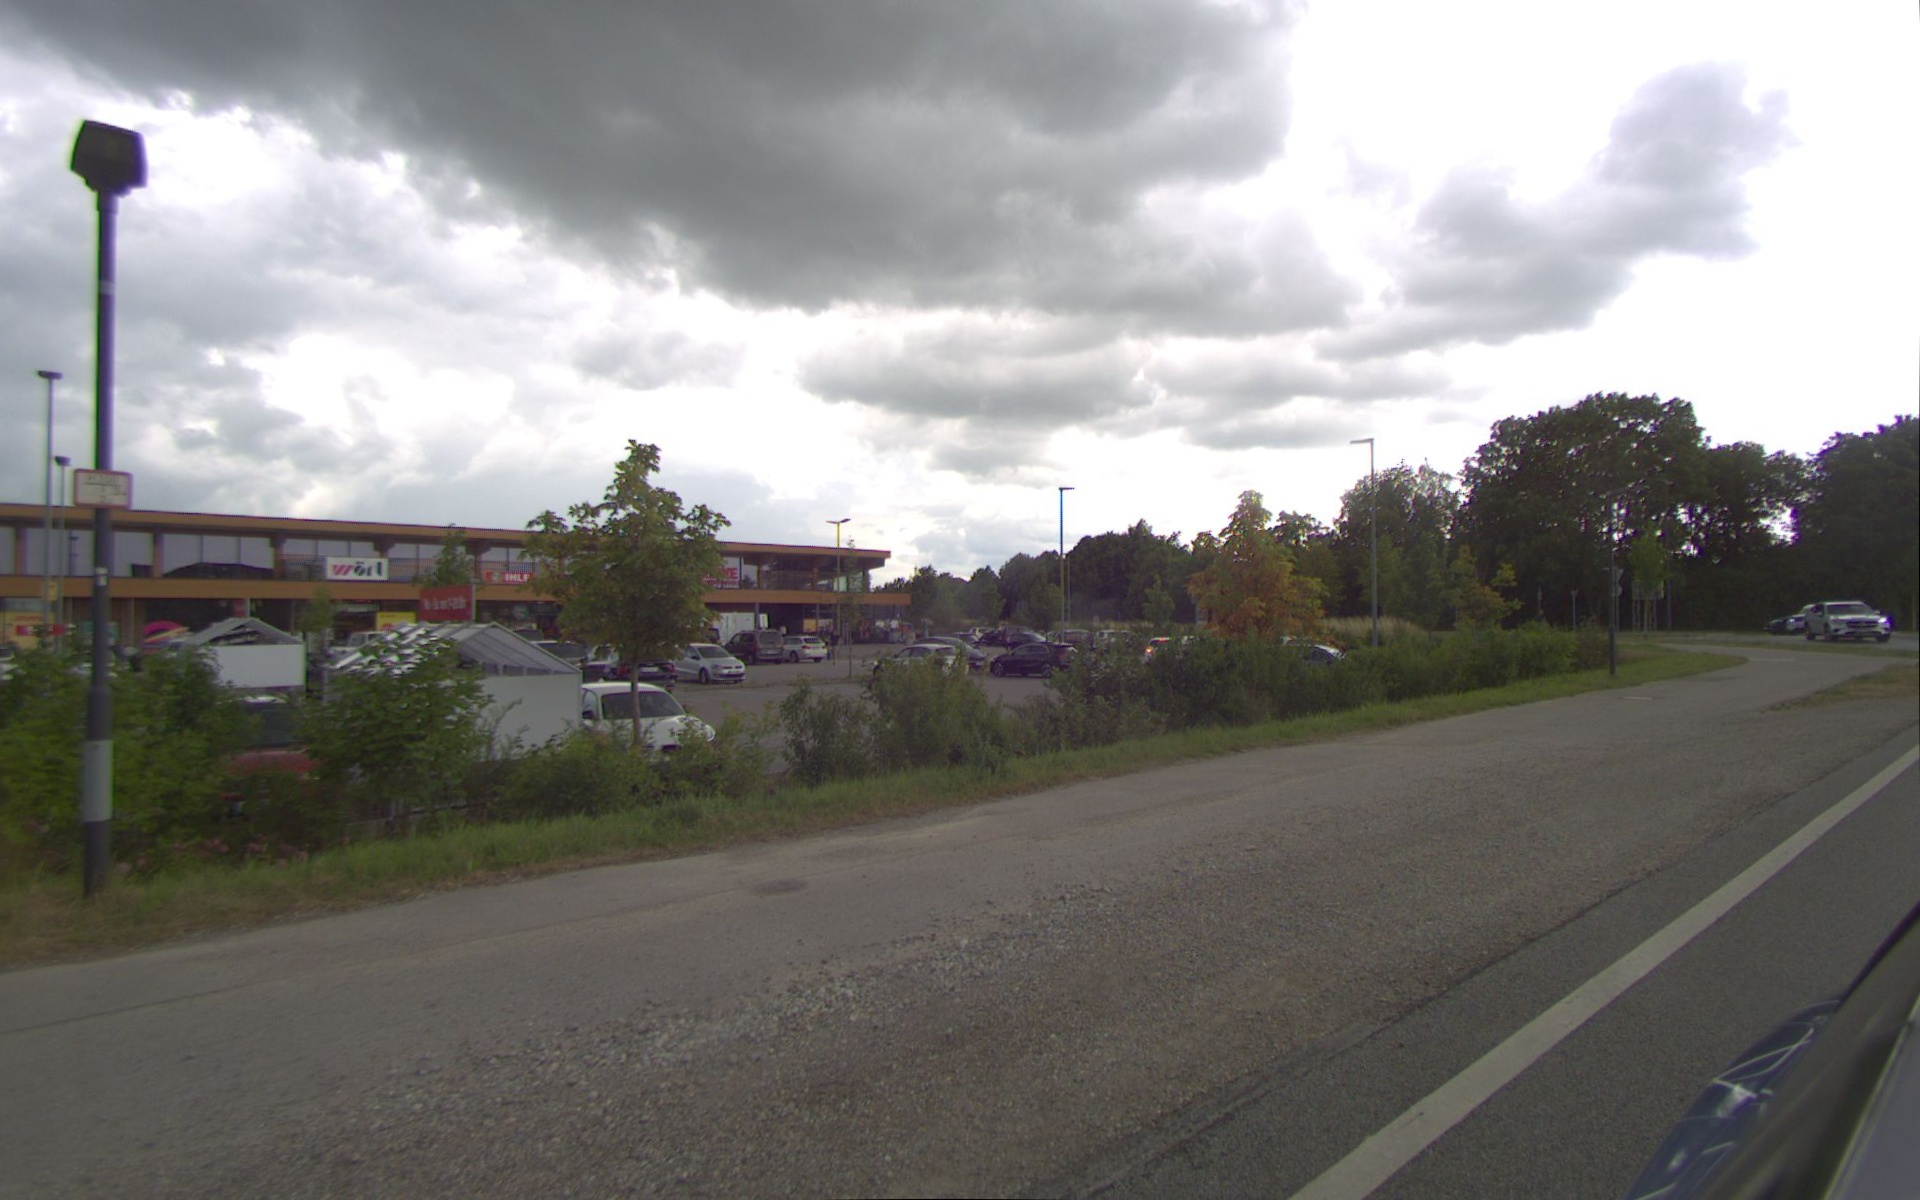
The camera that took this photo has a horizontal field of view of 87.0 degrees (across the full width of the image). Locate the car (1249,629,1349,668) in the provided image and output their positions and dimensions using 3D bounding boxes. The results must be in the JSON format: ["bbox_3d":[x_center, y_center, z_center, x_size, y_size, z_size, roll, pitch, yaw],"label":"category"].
[{"bbox_3d":[15.895,2.247,47.499,4.154,1.738,1.705,0,0,-13],"label":"car"}]

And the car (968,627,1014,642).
[{"bbox_3d":[2.880,3.209,94.277,3.916,1.377,1.705,0,0,-13],"label":"car"}]

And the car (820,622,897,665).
[{"bbox_3d":[-5.096,2.105,50.252,1.962,1.894,4.274,0,0,-36],"label":"car"}]

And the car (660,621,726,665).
[{"bbox_3d":[-13.700,2.165,51.829,1.962,2.039,3.999,0,0,-36],"label":"car"}]

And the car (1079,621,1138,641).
[{"bbox_3d":[10.984,2.276,75.019,3.916,1.377,1.705,0,0,-13],"label":"car"}]

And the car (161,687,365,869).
[{"bbox_3d":[-8.853,2.059,12.727,1.647,1.557,3.761,0,0,-42],"label":"car"}]

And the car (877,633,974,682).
[{"bbox_3d":[-1.320,2.093,37.597,1.723,1.552,3.554,0,0,-41],"label":"car"}]

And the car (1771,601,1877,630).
[{"bbox_3d":[45.796,0.819,53.764,3.963,1.438,1.699,1,0,29],"label":"car"}]

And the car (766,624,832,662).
[{"bbox_3d":[-8.955,2.323,55.914,2.032,1.871,3.999,0,0,-36],"label":"car"}]

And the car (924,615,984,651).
[{"bbox_3d":[-0.432,2.021,63.400,1.961,2.039,4.003,0,0,-32],"label":"car"}]

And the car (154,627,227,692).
[{"bbox_3d":[-27.936,2.089,36.834,1.962,2.039,3.999,0,0,-36],"label":"car"}]

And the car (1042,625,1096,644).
[{"bbox_3d":[8.660,2.748,80.681,3.916,1.377,1.705,0,0,-13],"label":"car"}]

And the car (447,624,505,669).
[{"bbox_3d":[-24.535,2.287,51.240,1.962,2.039,4.123,0,0,-36],"label":"car"}]

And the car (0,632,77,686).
[{"bbox_3d":[-35.310,2.201,38.734,1.908,1.772,3.999,0,0,-36],"label":"car"}]

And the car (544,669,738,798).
[{"bbox_3d":[-5.308,2.061,16.581,1.647,1.557,3.761,0,0,-42],"label":"car"}]

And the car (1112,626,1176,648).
[{"bbox_3d":[12.494,2.498,68.690,3.916,1.377,1.705,0,0,-13],"label":"car"}]

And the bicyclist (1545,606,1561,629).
[{"bbox_3d":[33.751,0.989,57.602,0.545,1.259,0.659,1,0,0],"label":"bicyclist"}]

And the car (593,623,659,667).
[{"bbox_3d":[-16.258,2.164,49.127,1.962,2.040,3.998,0,-3,-36],"label":"car"}]

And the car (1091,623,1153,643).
[{"bbox_3d":[11.487,2.329,71.840,3.916,1.377,1.705,0,0,-13],"label":"car"}]

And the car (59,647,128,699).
[{"bbox_3d":[-30.565,2.529,35.755,1.761,1.496,3.745,0,0,-40],"label":"car"}]

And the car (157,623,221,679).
[{"bbox_3d":[-31.635,2.040,41.605,1.962,2.039,3.999,0,0,-36],"label":"car"}]

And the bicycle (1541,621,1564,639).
[{"bbox_3d":[33.728,1.689,57.612,0.557,0.974,1.301,1,0,0],"label":"bicycle"}]

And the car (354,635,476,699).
[{"bbox_3d":[-14.202,1.677,26.277,1.965,1.460,3.993,0,-1,-41],"label":"car"}]

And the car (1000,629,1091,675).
[{"bbox_3d":[3.436,2.113,41.006,1.771,1.728,3.385,0,-3,-41],"label":"car"}]

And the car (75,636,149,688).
[{"bbox_3d":[-33.415,2.392,39.974,1.908,1.772,3.999,0,0,-36],"label":"car"}]

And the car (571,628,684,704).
[{"bbox_3d":[-9.832,1.852,29.701,1.962,1.894,4.274,0,0,-36],"label":"car"}]

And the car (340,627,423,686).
[{"bbox_3d":[-23.715,2.244,41.416,1.965,2.039,5.137,0,0,-41],"label":"car"}]

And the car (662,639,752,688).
[{"bbox_3d":[-9.751,2.374,38.745,1.962,1.571,4.131,0,0,-36],"label":"car"}]

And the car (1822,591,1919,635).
[{"bbox_3d":[37.307,0.496,40.770,3.916,1.705,2.004,0,0,-13],"label":"car"}]

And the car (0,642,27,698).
[{"bbox_3d":[-32.706,2.326,33.855,2.003,1.628,3.745,0,0,-40],"label":"car"}]

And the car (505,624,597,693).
[{"bbox_3d":[-13.786,1.887,34.007,1.962,2.039,3.999,0,0,-36],"label":"car"}]

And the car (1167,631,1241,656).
[{"bbox_3d":[14.347,2.526,59.566,3.916,1.377,1.705,0,0,-13],"label":"car"}]

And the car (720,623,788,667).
[{"bbox_3d":[-10.865,2.314,53.205,2.032,2.039,3.999,0,0,-36],"label":"car"}]

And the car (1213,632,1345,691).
[{"bbox_3d":[10.728,2.020,34.240,1.629,1.727,3.993,0,0,-41],"label":"car"}]

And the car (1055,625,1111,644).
[{"bbox_3d":[9.386,2.660,77.404,3.916,1.377,1.705,0,0,-13],"label":"car"}]

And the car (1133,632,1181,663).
[{"bbox_3d":[10.172,2.418,52.152,1.822,1.377,3.973,1,0,20],"label":"car"}]

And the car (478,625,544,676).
[{"bbox_3d":[-20.327,2.240,45.759,1.962,2.039,3.999,0,0,-36],"label":"car"}]

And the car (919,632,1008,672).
[{"bbox_3d":[0.123,2.298,45.454,1.962,1.504,4.131,0,0,-36],"label":"car"}]

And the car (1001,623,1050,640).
[{"bbox_3d":[5.702,2.734,87.817,3.916,1.377,1.705,0,0,-13],"label":"car"}]

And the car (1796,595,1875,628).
[{"bbox_3d":[43.247,0.559,49.976,3.697,1.538,2.001,0,0,-33],"label":"car"}]

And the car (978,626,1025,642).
[{"bbox_3d":[3.718,3.089,91.241,3.916,1.377,1.705,0,0,-13],"label":"car"}]
